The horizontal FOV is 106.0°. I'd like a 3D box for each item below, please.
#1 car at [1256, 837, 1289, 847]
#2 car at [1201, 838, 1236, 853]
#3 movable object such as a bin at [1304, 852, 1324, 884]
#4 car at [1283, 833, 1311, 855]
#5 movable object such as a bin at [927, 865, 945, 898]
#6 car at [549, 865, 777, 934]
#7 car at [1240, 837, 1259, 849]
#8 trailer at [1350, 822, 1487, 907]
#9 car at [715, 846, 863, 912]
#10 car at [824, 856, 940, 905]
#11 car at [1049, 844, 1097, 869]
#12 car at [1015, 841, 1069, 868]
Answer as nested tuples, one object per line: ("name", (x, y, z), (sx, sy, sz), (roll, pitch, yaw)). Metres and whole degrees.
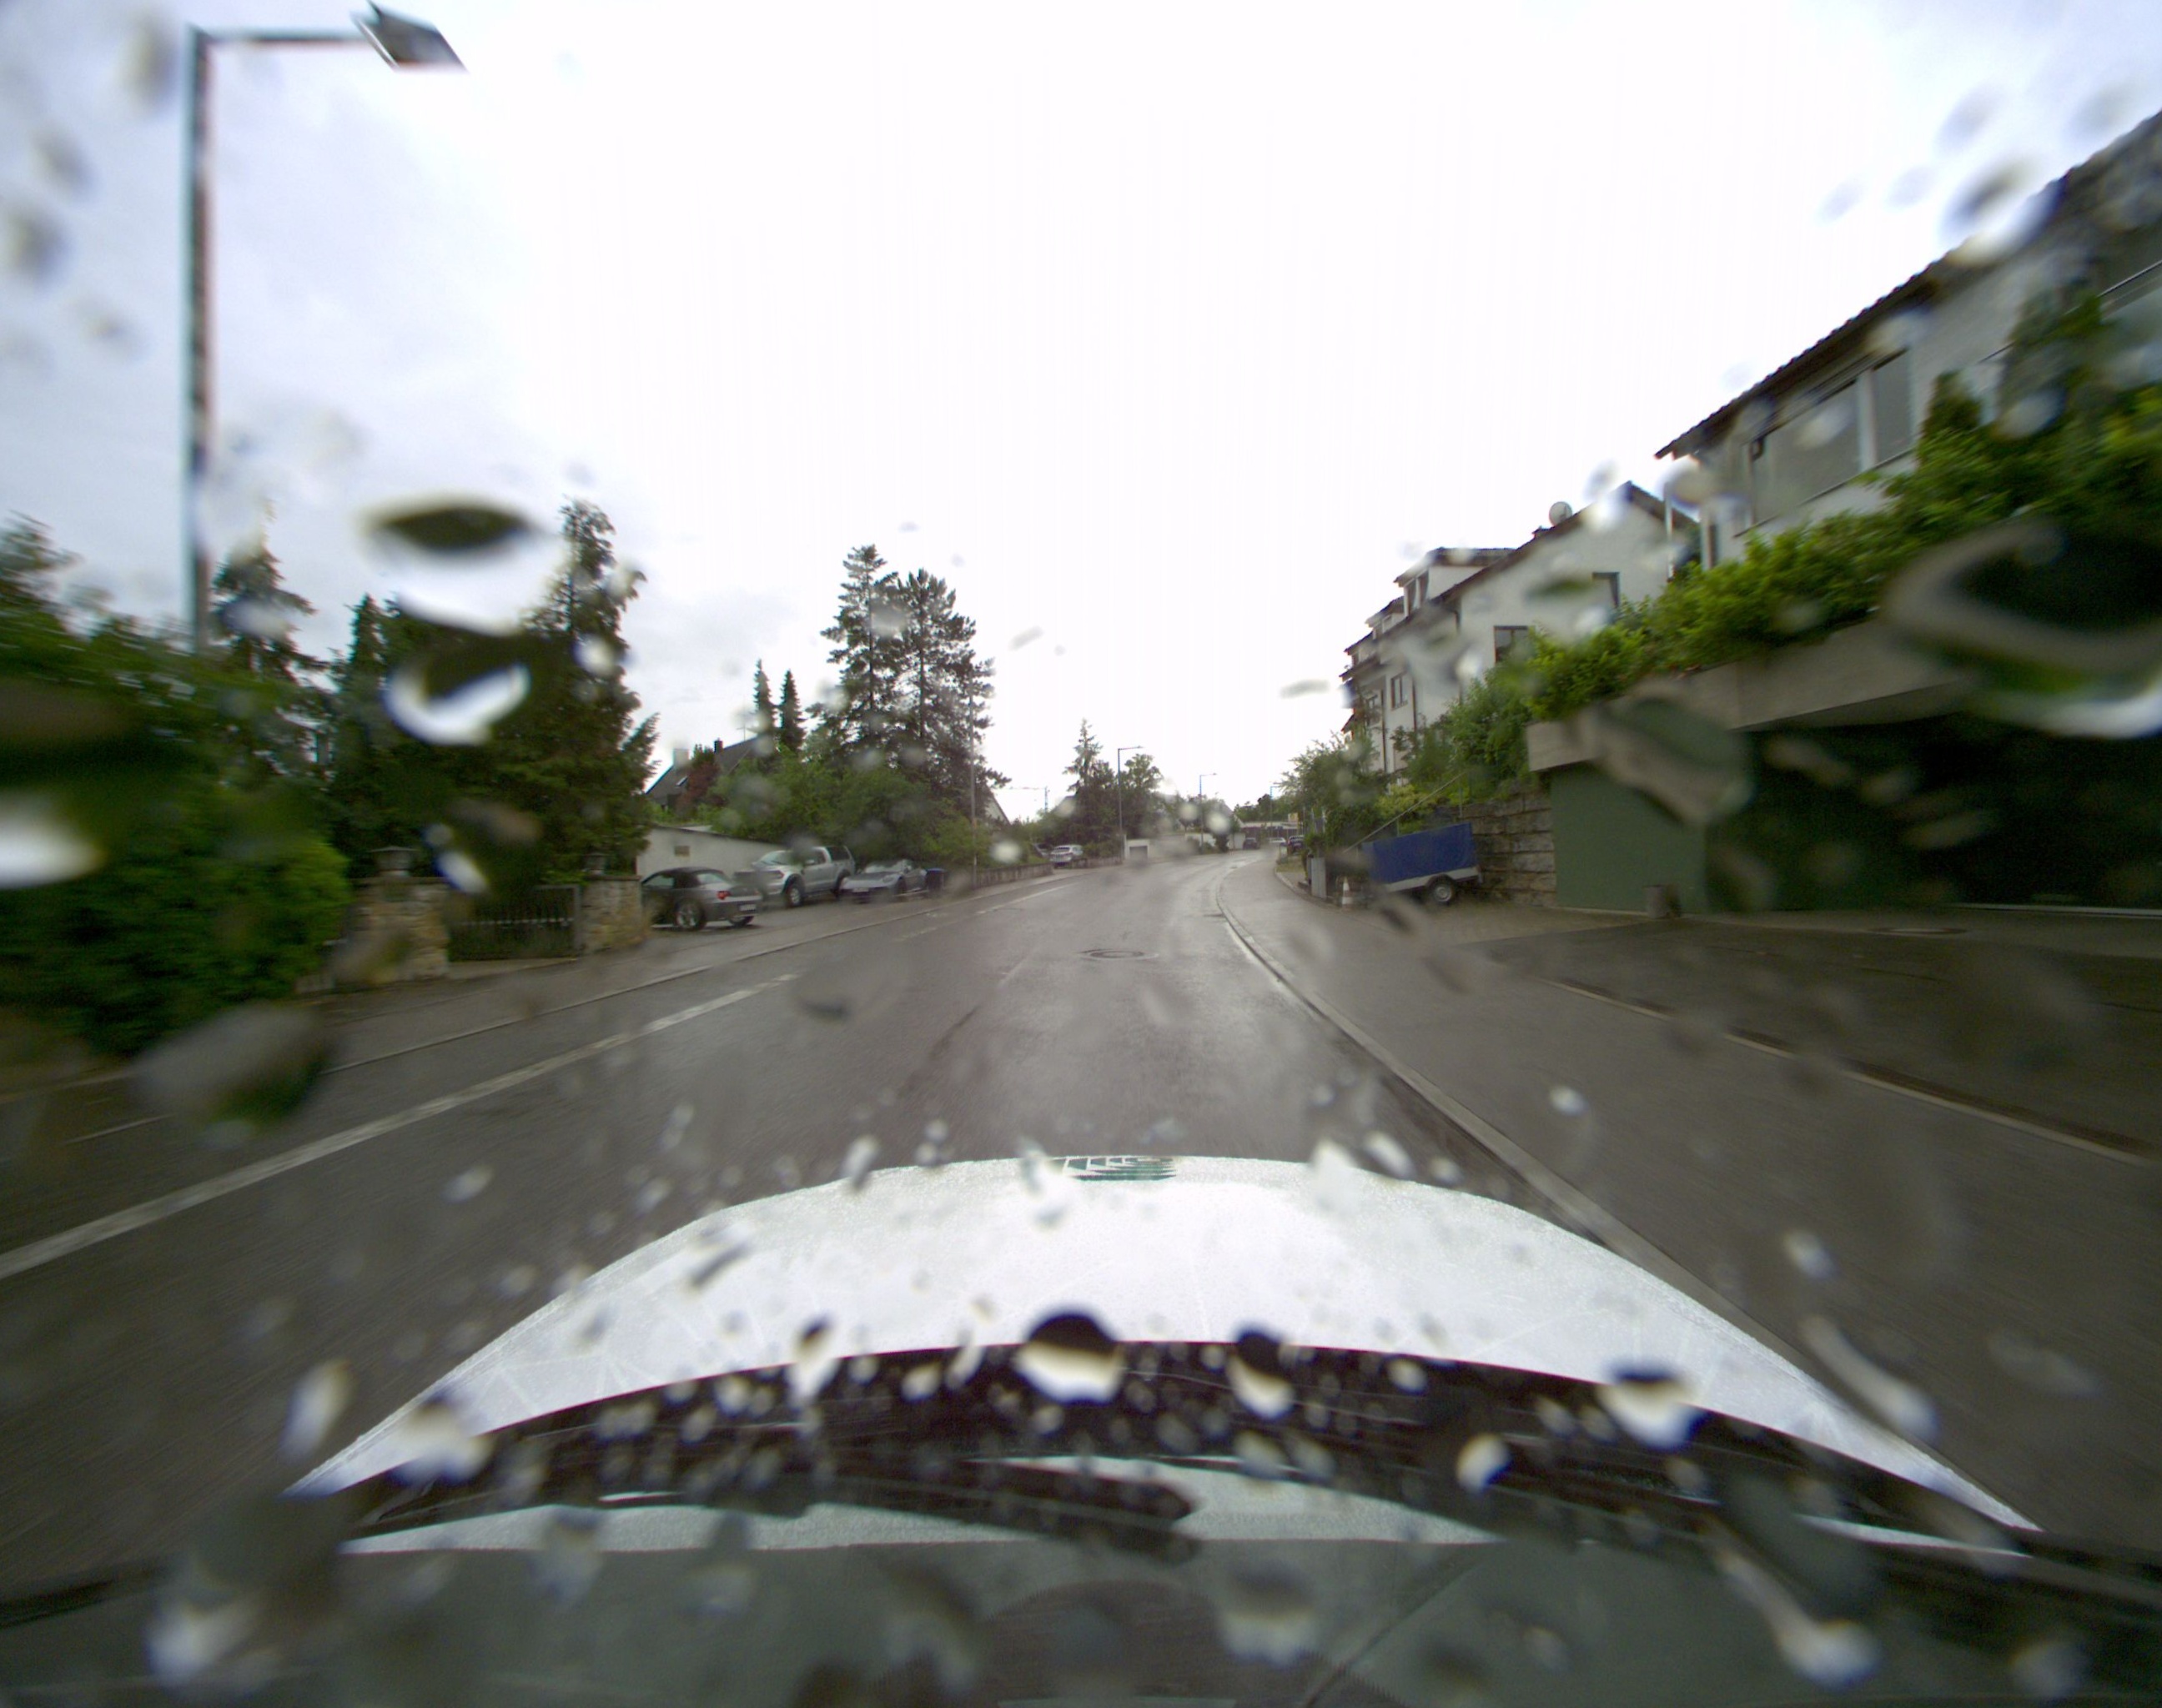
("car", (29.424, -1.837, 125.154), (4.520, 1.442, 1.755), (-1, 1, -11))
("car", (15.472, -0.925, 91.593), (1.689, 1.553, 4.416), (-1, 1, 42))
("movable object such as a bin", (6.877, 0.408, 24.047), (0.489, 0.922, 0.458), (-2, 0, 9))
("car", (16.670, -0.784, 62.688), (1.691, 1.454, 4.041), (-5, 0, 19))
("movable object such as a bin", (-4.535, 0.856, 25.527), (0.368, 0.988, 0.559), (-2, 0, 6))
("car", (-8.795, 0.944, 17.276), (3.959, 1.271, 1.880), (-2, 0, 12))
("car", (21.606, -1.379, 104.280), (1.818, 1.405, 4.281), (-1, 1, 19))
("trailer", (7.526, 0.229, 18.386), (2.342, 1.748, 2.003), (-2, 0, 6))
("car", (-9.101, 0.689, 26.027), (1.982, 1.843, 5.493), (-2, 0, 9))
("car", (-6.240, 0.790, 26.168), (1.982, 1.307, 4.445), (-2, 0, 9))
("car", (-0.489, 0.139, 54.561), (1.719, 1.551, 4.021), (-2, 0, 21))
("car", (-2.948, 0.053, 61.332), (2.011, 1.837, 3.952), (-2, 0, -41))
